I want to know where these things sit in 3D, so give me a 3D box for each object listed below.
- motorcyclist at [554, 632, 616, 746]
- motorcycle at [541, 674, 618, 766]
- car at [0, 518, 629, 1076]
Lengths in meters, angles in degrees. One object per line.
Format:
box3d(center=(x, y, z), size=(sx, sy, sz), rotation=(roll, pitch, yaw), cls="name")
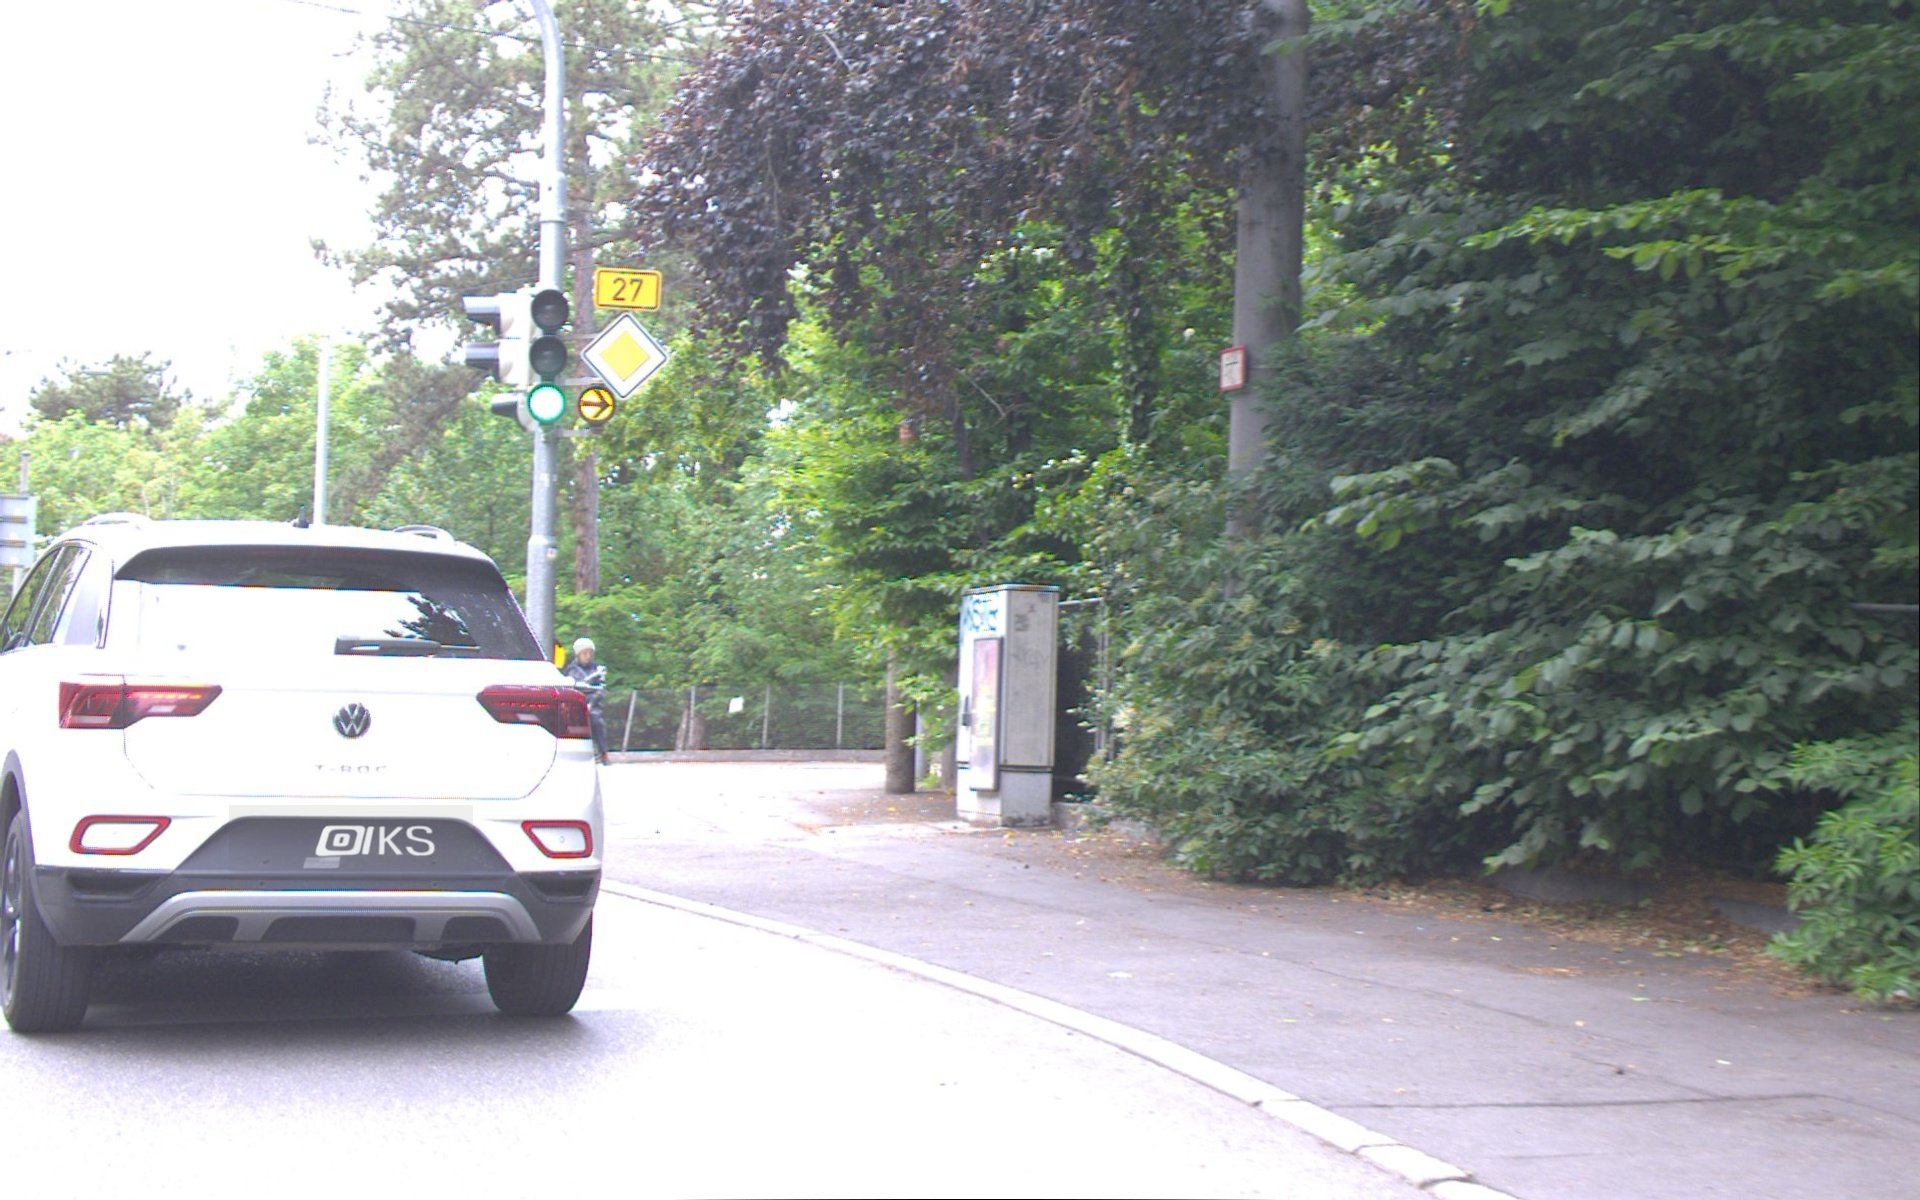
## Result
box3d(center=(-4.754, 1.126, 43.596), size=(0.599, 1.425, 0.757), rotation=(0, -1, 8), cls="motorcyclist")
box3d(center=(-4.816, 1.510, 43.591), size=(0.599, 1.148, 1.580), rotation=(0, -1, 8), cls="motorcycle")
box3d(center=(-2.594, 0.511, 11.869), size=(1.754, 1.547, 4.339), rotation=(1, 1, -21), cls="car")
